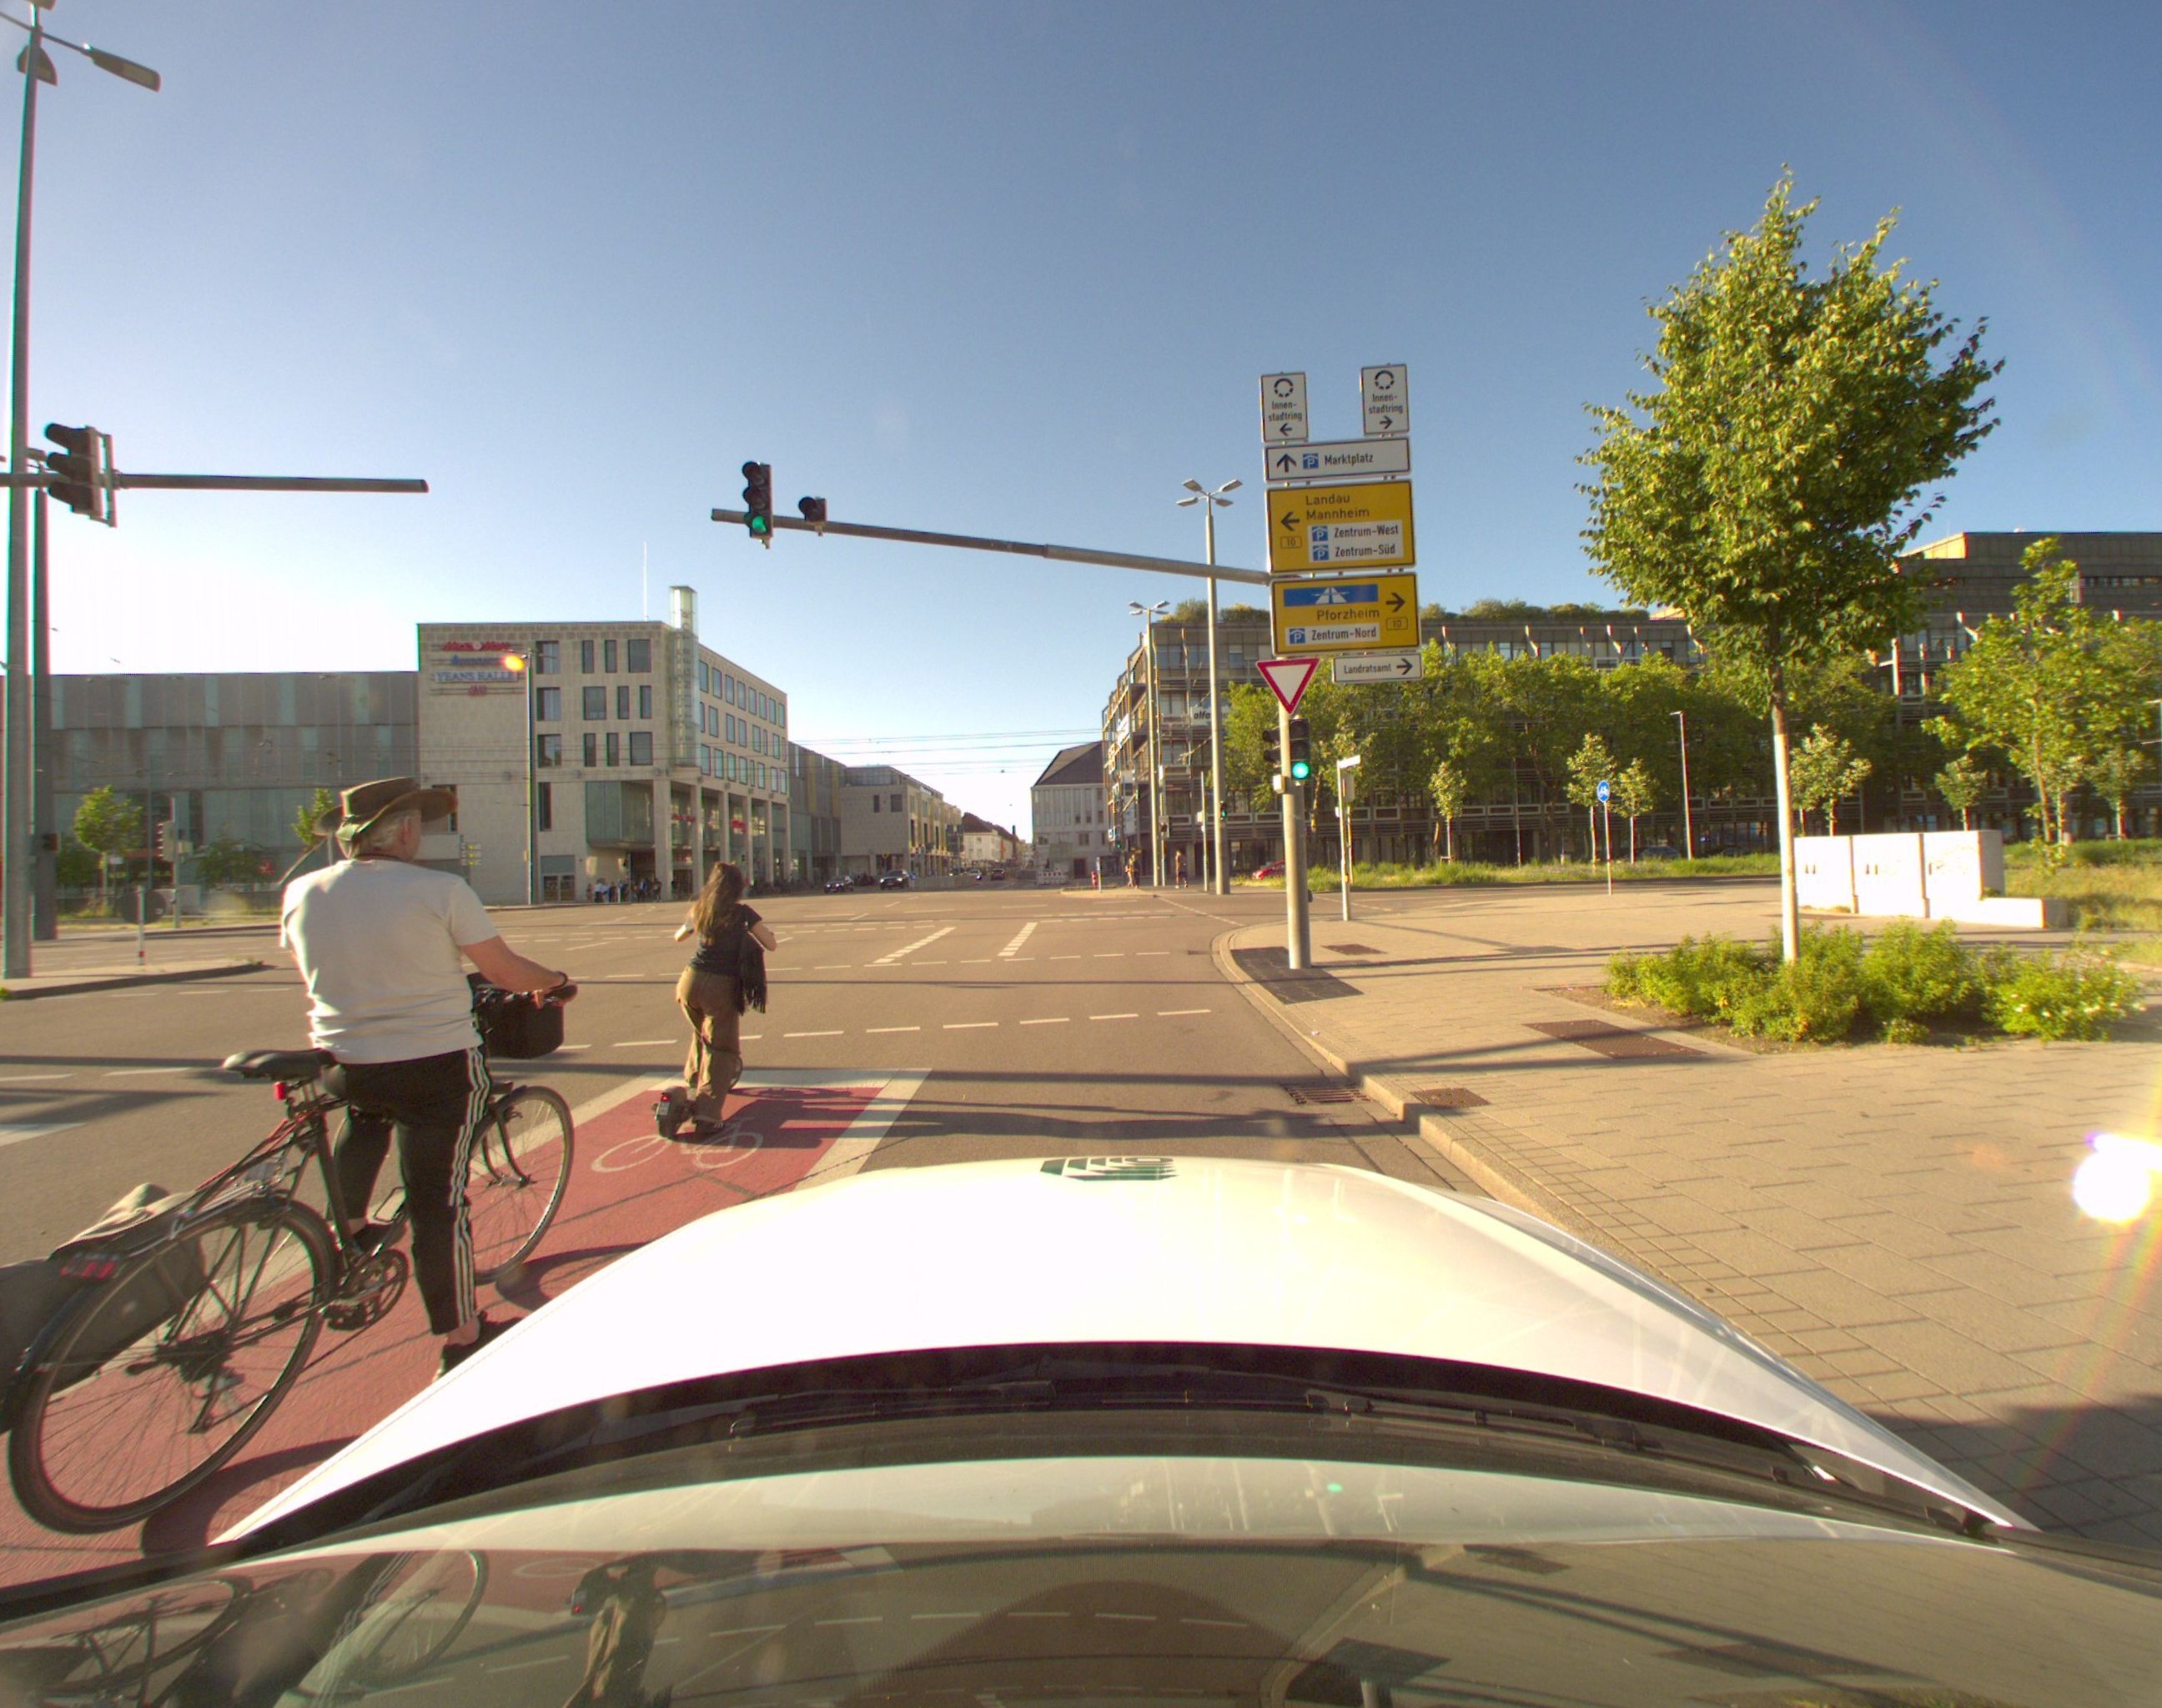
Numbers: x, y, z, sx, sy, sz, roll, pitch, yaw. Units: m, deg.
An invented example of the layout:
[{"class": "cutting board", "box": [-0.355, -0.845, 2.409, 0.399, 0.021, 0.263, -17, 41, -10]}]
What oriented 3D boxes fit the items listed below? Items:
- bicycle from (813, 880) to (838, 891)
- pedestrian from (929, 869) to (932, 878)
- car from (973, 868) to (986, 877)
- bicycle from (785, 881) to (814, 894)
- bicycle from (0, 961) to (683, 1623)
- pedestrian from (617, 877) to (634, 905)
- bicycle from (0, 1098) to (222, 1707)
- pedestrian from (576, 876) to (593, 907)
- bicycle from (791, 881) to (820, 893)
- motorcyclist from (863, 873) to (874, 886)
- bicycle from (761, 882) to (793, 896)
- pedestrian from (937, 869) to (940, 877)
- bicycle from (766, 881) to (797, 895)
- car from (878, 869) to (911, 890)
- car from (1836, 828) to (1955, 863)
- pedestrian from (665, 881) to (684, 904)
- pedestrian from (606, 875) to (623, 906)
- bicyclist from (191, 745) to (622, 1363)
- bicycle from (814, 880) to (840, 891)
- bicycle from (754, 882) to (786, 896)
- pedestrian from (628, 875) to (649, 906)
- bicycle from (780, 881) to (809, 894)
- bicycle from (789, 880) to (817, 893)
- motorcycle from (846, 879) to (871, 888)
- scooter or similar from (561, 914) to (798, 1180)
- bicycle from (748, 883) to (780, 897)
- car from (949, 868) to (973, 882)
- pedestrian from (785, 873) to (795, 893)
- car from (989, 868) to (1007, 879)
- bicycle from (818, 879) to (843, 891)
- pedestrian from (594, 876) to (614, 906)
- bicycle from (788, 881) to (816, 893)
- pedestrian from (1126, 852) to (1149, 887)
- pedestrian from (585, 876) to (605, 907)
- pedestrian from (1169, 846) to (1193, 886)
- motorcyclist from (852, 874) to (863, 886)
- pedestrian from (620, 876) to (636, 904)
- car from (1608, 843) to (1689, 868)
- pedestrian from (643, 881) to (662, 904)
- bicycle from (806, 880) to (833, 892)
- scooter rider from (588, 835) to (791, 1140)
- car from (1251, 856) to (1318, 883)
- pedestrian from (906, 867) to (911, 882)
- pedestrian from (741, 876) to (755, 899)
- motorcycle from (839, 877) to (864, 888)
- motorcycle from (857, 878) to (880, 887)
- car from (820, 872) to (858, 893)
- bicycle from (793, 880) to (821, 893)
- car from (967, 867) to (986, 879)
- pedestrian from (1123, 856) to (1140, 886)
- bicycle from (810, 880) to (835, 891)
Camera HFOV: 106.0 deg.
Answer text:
[{"class": "bicycle", "box": [-26.882, 3.289, 85.646, 2.458, 1.111, 0.661, -2, -1, 2]}, {"class": "pedestrian", "box": [-22.912, 2.949, 123.874, 0.487, 1.356, 0.563, 0, -1, -4]}, {"class": "car", "box": [-21.459, 3.963, 171.993, 2.168, 1.873, 5.610, -2, -1, -2]}, {"class": "bicycle", "box": [-26.586, 3.150, 76.928, 2.458, 1.111, 0.684, -2, -1, 2]}, {"class": "bicycle", "box": [-2.059, 1.005, 2.549, 0.704, 1.094, 1.800, -2, -1, 0]}, {"class": "pedestrian", "box": [-33.575, 2.686, 59.986, 0.921, 2.014, 1.012, -1, -1, -39]}, {"class": "bicycle", "box": [-1.713, 0.940, 0.397, 0.648, 1.094, 1.800, -2, -1, 1]}, {"class": "pedestrian", "box": [-35.243, 2.636, 57.786, 0.900, 2.124, 0.939, -1, -1, -25]}, {"class": "bicycle", "box": [-26.599, 3.168, 78.653, 2.458, 1.111, 0.835, -2, -1, 2]}, {"class": "motorcyclist", "box": [-25.557, 3.034, 98.079, 1.135, 1.575, 0.914, 0, -1, -5]}, {"class": "bicycle", "box": [-26.705, 3.052, 71.543, 2.457, 1.111, 0.685, -2, -1, 4]}, {"class": "pedestrian", "box": [-23.017, 3.066, 131.309, 0.487, 1.356, 0.563, 0, -1, -4]}, {"class": "bicycle", "box": [-26.585, 3.043, 72.350, 2.458, 1.111, 0.684, -2, -1, 2]}, {"class": "car", "box": [-15.639, 2.097, 68.625, 1.933, 1.677, 4.289, -2, -1, -3]}, {"class": "car", "box": [52.841, -0.542, 52.884, 5.680, 2.014, 2.262, -2, -3, -5]}, {"class": "pedestrian", "box": [-29.064, 2.744, 58.235, 0.951, 1.571, 0.831, -1, -1, -44]}, {"class": "pedestrian", "box": [-32.370, 2.532, 56.547, 0.902, 2.124, 0.936, -1, -1, -37]}, {"class": "bicyclist", "box": [-2.079, 0.549, 2.634, 0.697, 1.669, 0.786, -2, -1, 0]}, {"class": "bicycle", "box": [-26.922, 3.308, 86.314, 2.458, 1.111, 0.631, -2, -1, 2]}, {"class": "bicycle", "box": [-26.792, 3.039, 70.179, 2.458, 1.111, 0.684, -2, -1, 2]}, {"class": "pedestrian", "box": [-31.292, 2.577, 57.636, 1.069, 2.129, 1.085, -1, -1, -42]}, {"class": "bicycle", "box": [-26.617, 3.129, 75.702, 2.458, 1.111, 0.594, -2, -1, 2]}, {"class": "bicycle", "box": [-27.107, 3.193, 79.495, 2.458, 1.111, 0.684, -2, -1, 2]}, {"class": "motorcycle", "box": [-25.873, 3.408, 94.613, 2.664, 0.996, 0.914, 0, -1, -6]}, {"class": "scooter or similar", "box": [-2.205, 0.988, 4.690, 0.640, 1.175, 1.483, -1, -1, -1]}, {"class": "bicycle", "box": [-26.810, 3.036, 68.833, 2.394, 1.113, 0.658, -2, -1, 1]}, {"class": "car", "box": [-15.329, 2.644, 104.265, 2.166, 1.692, 5.488, -2, -1, 1]}, {"class": "pedestrian", "box": [-30.069, 3.008, 84.120, 0.949, 1.982, 1.000, -1, -1, -23]}, {"class": "car", "box": [-11.017, 2.624, 108.317, 1.931, 1.450, 4.258, -2, -1, -2]}, {"class": "bicycle", "box": [-26.918, 3.316, 87.554, 2.458, 1.111, 0.661, -2, -1, 2]}, {"class": "pedestrian", "box": [-34.098, 2.626, 58.183, 0.895, 2.124, 0.944, -2, -1, -9]}, {"class": "bicycle", "box": [-26.626, 3.155, 77.705, 2.458, 1.111, 0.684, -2, -1, 2]}, {"class": "pedestrian", "box": [2.569, 0.692, 37.255, 0.894, 1.549, 0.922, -2, 1, -5]}, {"class": "pedestrian", "box": [-33.920, 2.611, 56.865, 0.895, 2.124, 0.944, -2, -1, -9]}, {"class": "pedestrian", "box": [4.456, 0.534, 36.341, 0.854, 1.744, 0.737, -2, 0, -7]}, {"class": "motorcyclist", "box": [-25.957, 3.010, 94.601, 1.035, 1.471, 0.914, 0, -1, -5]}, {"class": "pedestrian", "box": [-32.580, 2.590, 58.586, 0.921, 2.014, 1.013, -1, -1, -33]}, {"class": "car", "box": [41.793, 0.089, 60.046, 4.848, 1.680, 1.995, -2, 0, -7]}, {"class": "pedestrian", "box": [-31.004, 2.781, 58.883, 1.013, 1.651, 0.937, -1, -1, -41]}, {"class": "bicycle", "box": [-26.961, 3.269, 84.085, 2.458, 1.111, 0.835, -2, -1, 2]}, {"class": "scooter rider", "box": [-2.204, 0.685, 4.724, 0.640, 1.544, 1.116, -1, -1, -1]}, {"class": "car", "box": [13.219, 1.041, 53.160, 3.854, 1.486, 1.845, -2, -4, 0]}, {"class": "pedestrian", "box": [-24.691, 2.927, 116.597, 0.616, 2.014, 0.476, 0, -1, -13]}, {"class": "pedestrian", "box": [-25.422, 2.578, 62.211, 0.748, 1.740, 0.756, -2, -1, -1]}, {"class": "motorcycle", "box": [-25.997, 3.261, 92.252, 2.664, 1.217, 0.914, 0, -1, -6]}, {"class": "motorcycle", "box": [-25.578, 3.461, 98.056, 2.664, 0.996, 0.914, 0, -1, -6]}, {"class": "car", "box": [-20.796, 2.449, 70.163, 1.931, 1.581, 4.293, -2, -1, 0]}, {"class": "bicycle", "box": [-27.161, 3.213, 80.748, 2.458, 1.111, 0.835, -2, -1, 2]}, {"class": "car", "box": [-15.942, 2.940, 124.773, 2.167, 1.692, 5.612, -2, -1, -1]}, {"class": "pedestrian", "box": [3.227, 1.088, 52.435, 1.008, 1.911, 1.051, -2, -1, 1]}, {"class": "bicycle", "box": [-26.945, 3.272, 84.899, 2.458, 1.111, 0.661, -2, -1, 2]}]
